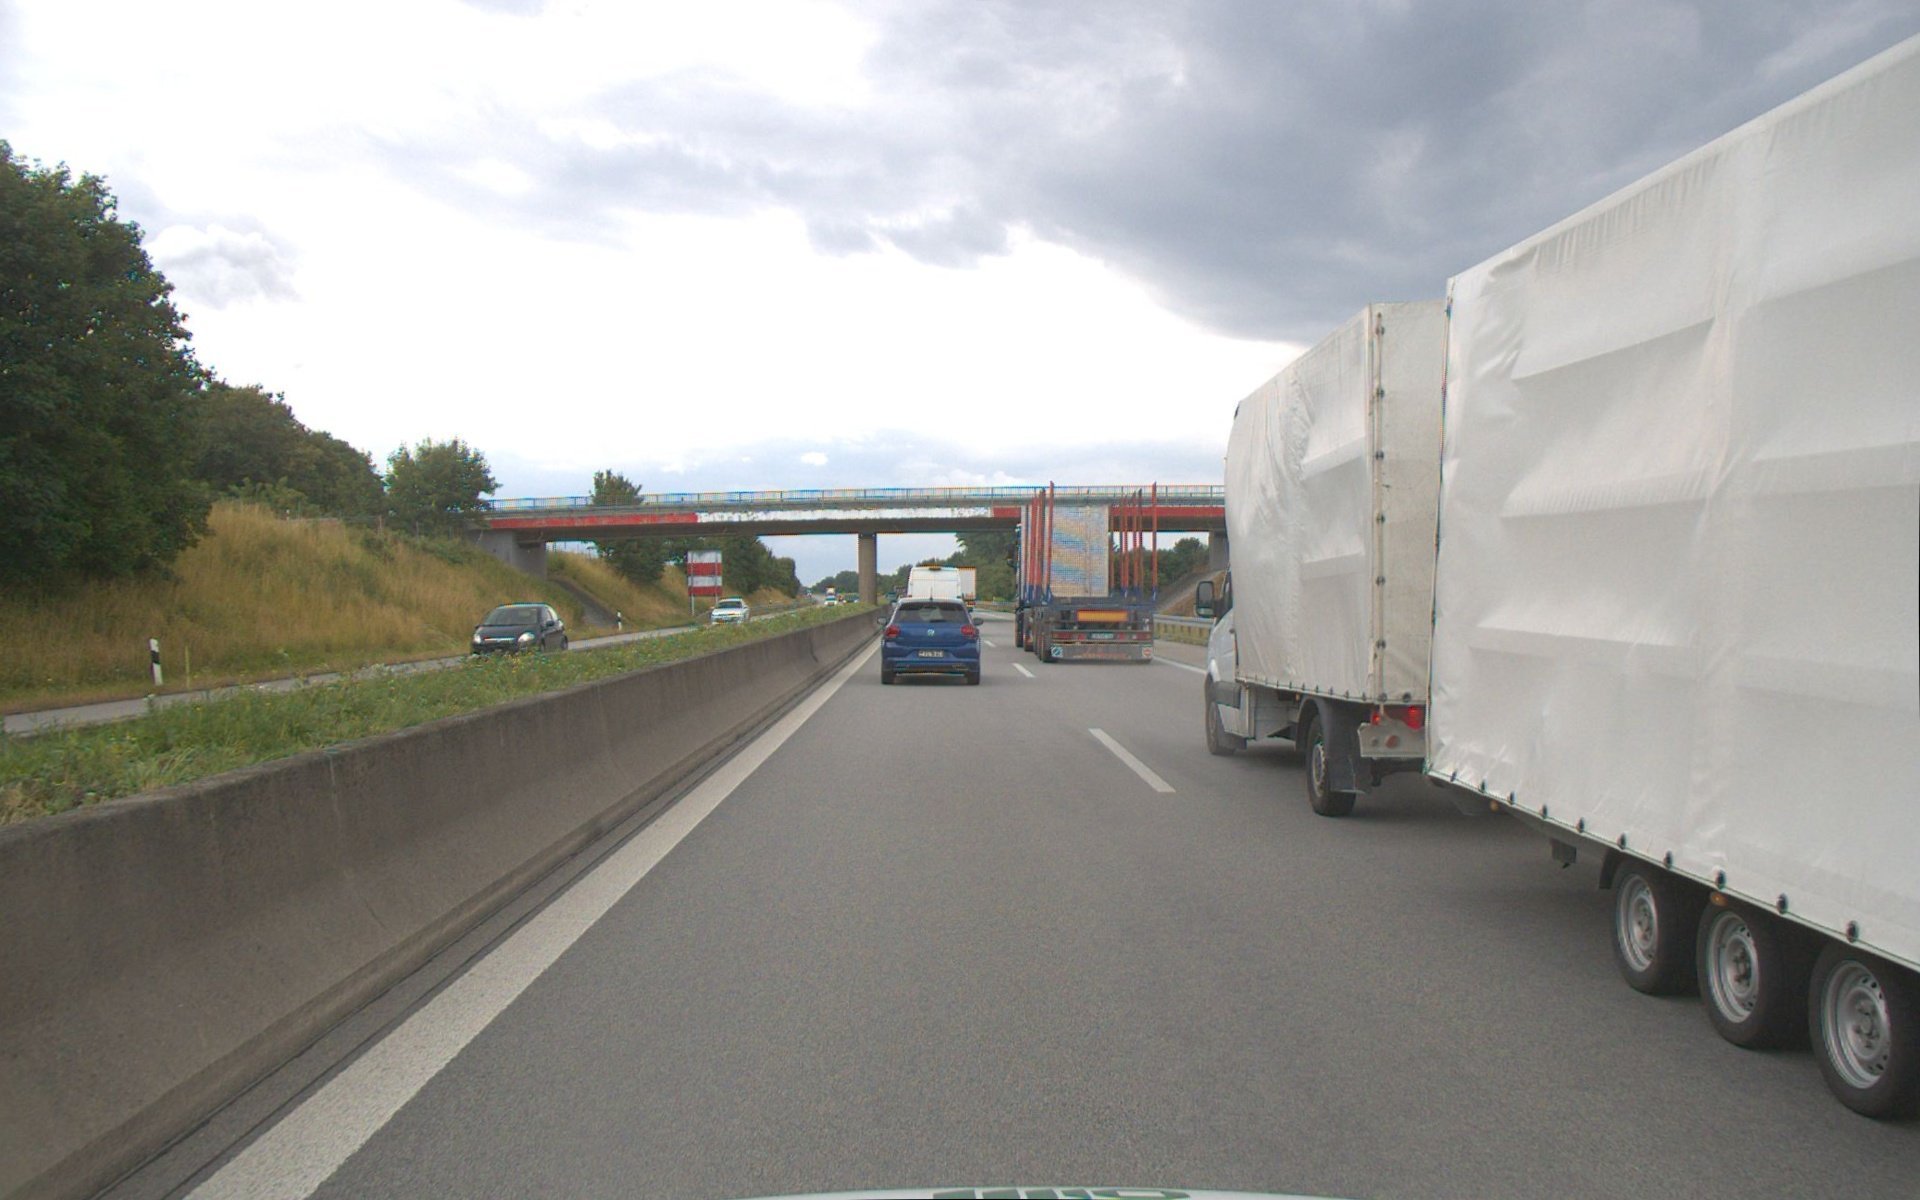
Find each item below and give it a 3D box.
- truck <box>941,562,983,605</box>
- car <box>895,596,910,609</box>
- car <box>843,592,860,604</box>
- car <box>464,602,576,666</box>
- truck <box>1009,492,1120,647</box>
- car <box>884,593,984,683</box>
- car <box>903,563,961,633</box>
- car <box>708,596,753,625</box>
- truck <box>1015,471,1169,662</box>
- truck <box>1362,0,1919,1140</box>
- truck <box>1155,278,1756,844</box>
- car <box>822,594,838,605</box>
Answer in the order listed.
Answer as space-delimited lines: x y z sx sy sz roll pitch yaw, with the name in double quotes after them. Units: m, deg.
0.112 -1.505 155.293 3.050 3.754 9.313 -2 0 -5 "truck"
-7.774 0.321 224.045 1.953 1.713 3.999 0 0 -1 "car"
-13.435 -0.242 205.390 1.857 1.487 4.541 -2 0 -1 "car"
-10.680 0.779 40.452 1.613 1.402 4.234 -2 0 -1 "car"
2.859 -0.854 46.801 2.619 4.116 5.510 0 1 -2 "truck"
-0.476 0.619 28.939 1.630 1.431 3.647 1 0 -2 "car"
-1.043 -0.091 62.648 2.087 2.526 5.838 0 0 -1 "car"
-12.628 0.551 91.420 1.857 1.487 4.541 -2 0 -1 "car"
3.055 -0.788 41.340 2.619 4.116 11.104 0 1 -2 "truck"
3.662 -0.208 6.046 2.366 3.278 7.140 0 0 -2 "truck"
3.353 -0.230 13.336 2.381 3.300 7.243 0 0 -3 "truck"
-18.143 -0.029 230.878 1.857 1.487 4.541 -2 0 -1 "car"
